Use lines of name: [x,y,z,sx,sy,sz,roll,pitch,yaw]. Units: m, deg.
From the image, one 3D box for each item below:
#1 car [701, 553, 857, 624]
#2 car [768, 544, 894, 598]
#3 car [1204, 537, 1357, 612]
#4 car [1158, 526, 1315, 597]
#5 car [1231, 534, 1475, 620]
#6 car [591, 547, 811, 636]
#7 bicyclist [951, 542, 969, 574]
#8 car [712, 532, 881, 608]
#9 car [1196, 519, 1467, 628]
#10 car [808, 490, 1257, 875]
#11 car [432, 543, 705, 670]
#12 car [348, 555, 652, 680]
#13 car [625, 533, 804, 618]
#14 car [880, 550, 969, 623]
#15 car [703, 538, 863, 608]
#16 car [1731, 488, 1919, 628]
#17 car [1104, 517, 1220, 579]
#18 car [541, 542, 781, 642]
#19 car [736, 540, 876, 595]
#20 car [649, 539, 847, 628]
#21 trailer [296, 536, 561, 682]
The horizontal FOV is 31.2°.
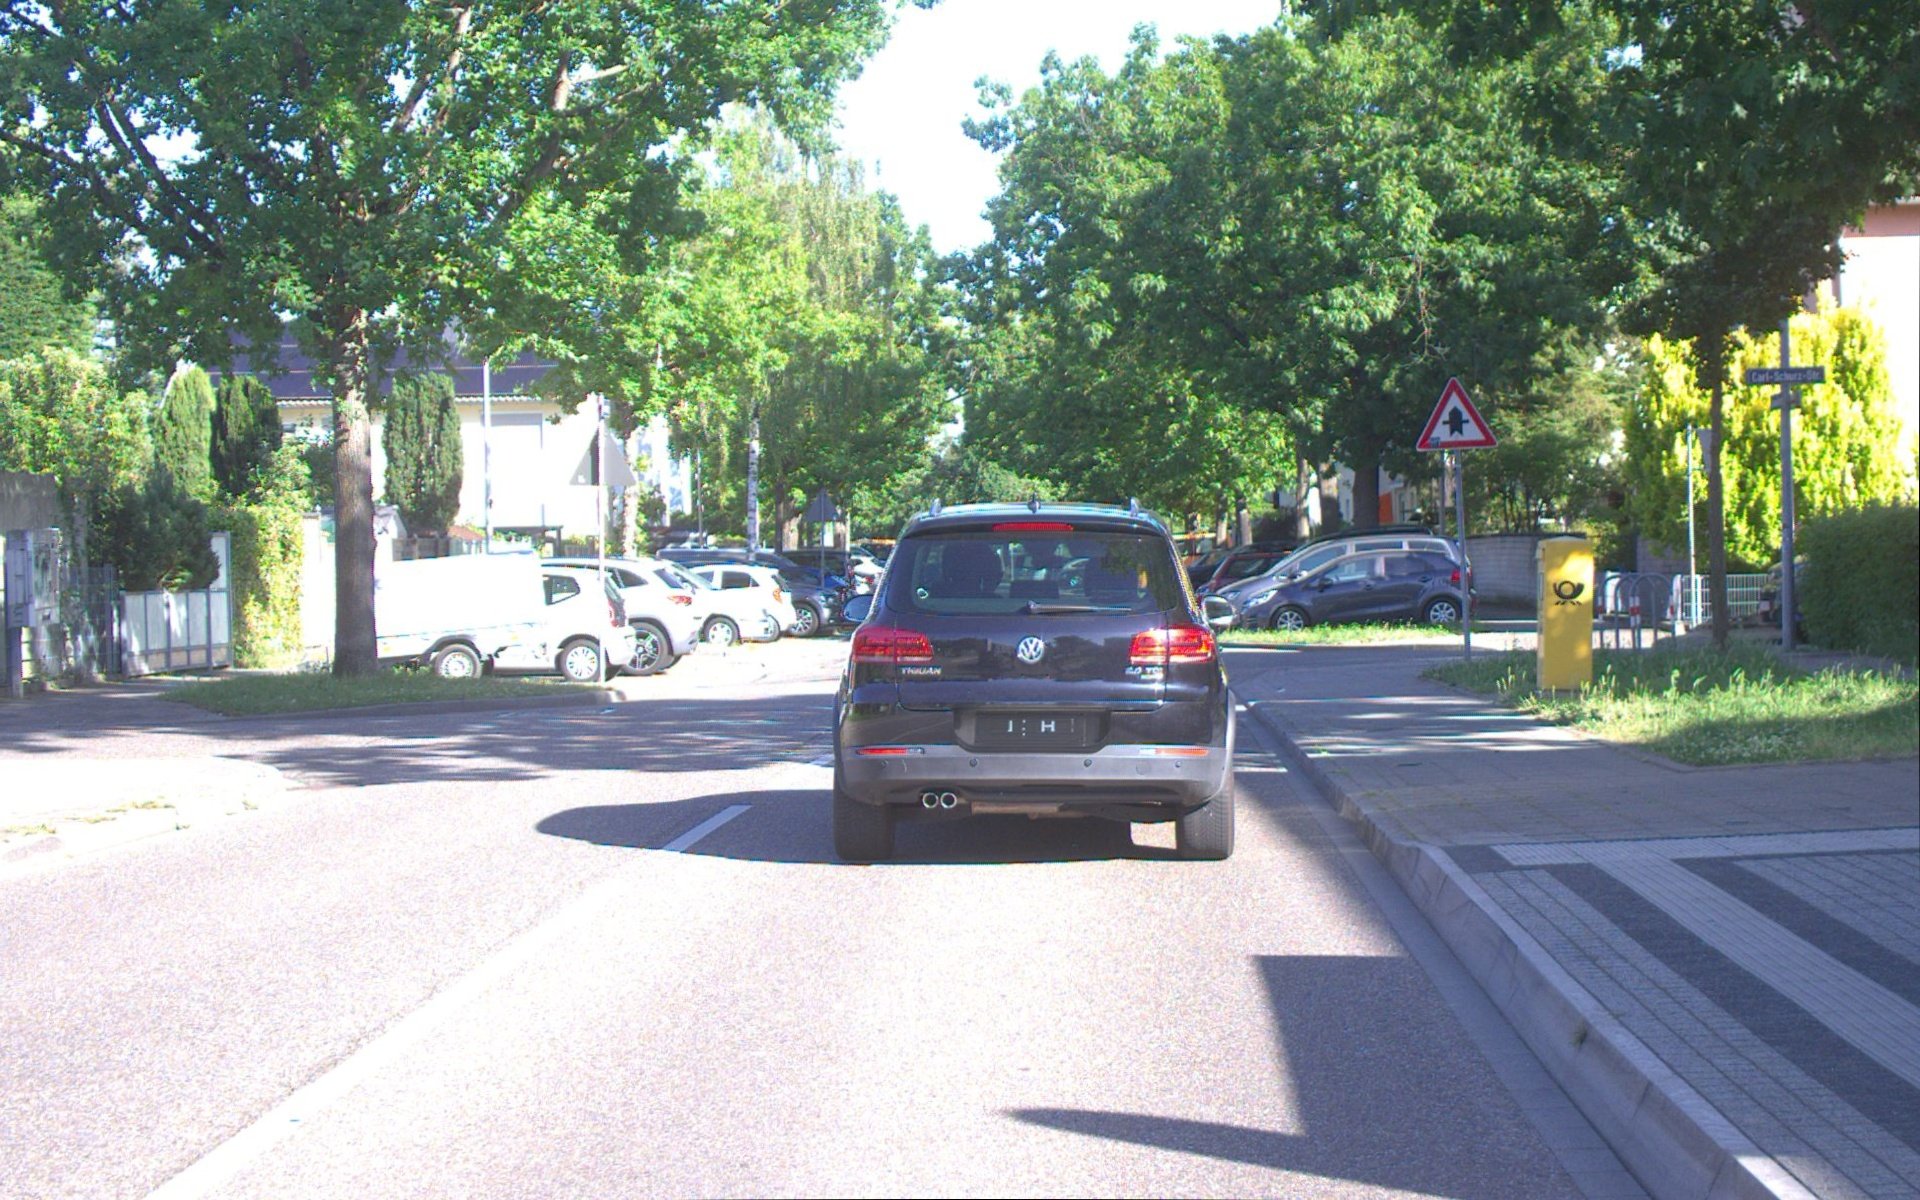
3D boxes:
car: [-3.979,-0.260,75.864,3.370,1.485,1.644,-1,1,-2]
car: [-4.286,-0.950,113.854,3.986,1.678,1.923,-1,1,-6]
car: [6.807,-0.550,73.150,3.043,1.502,1.247,-1,1,-4]
car: [7.198,-1.009,89.729,3.987,1.769,1.789,-1,1,3]
car: [6.685,-0.394,58.796,3.987,1.364,1.846,-1,1,2]
car: [-4.990,-0.178,66.543,3.987,1.634,2.000,-1,1,3]
bicyclist: [0.000,-1.774,145.947,0.700,1.341,0.506,-1,-1,-2]
car: [-4.320,-0.782,90.856,4.389,1.932,1.579,-1,-1,-2]
car: [6.586,-0.472,61.298,4.633,1.803,1.824,-1,1,2]
car: [0.224,0.320,17.103,1.929,1.649,4.515,0,1,-2]
car: [-5.244,0.074,46.397,3.548,1.608,1.853,-1,1,-4]
car: [-5.816,0.205,43.739,3.549,1.472,1.808,-1,1,2]
car: [-5.606,-0.562,78.788,3.986,1.830,1.638,-1,1,-2]
car: [-0.805,-0.336,79.844,1.909,1.550,4.000,-3,1,1]
car: [-4.532,-0.680,88.391,3.987,1.714,1.821,-1,-1,1]
car: [13.526,-0.593,47.470,5.240,1.841,2.072,-1,-1,-1]
car: [7.108,-1.824,121.222,3.987,2.007,2.000,-1,-1,2]
car: [-5.294,-0.155,61.211,3.987,1.664,2.000,-1,1,3]
car: [-4.570,-0.966,102.550,3.987,1.493,2.000,-1,-1,2]
car: [-4.365,-0.360,71.282,3.986,1.725,2.000,-1,1,-2]
trailer: [-6.374,0.098,41.396,2.966,1.650,1.396,-1,1,-2]
